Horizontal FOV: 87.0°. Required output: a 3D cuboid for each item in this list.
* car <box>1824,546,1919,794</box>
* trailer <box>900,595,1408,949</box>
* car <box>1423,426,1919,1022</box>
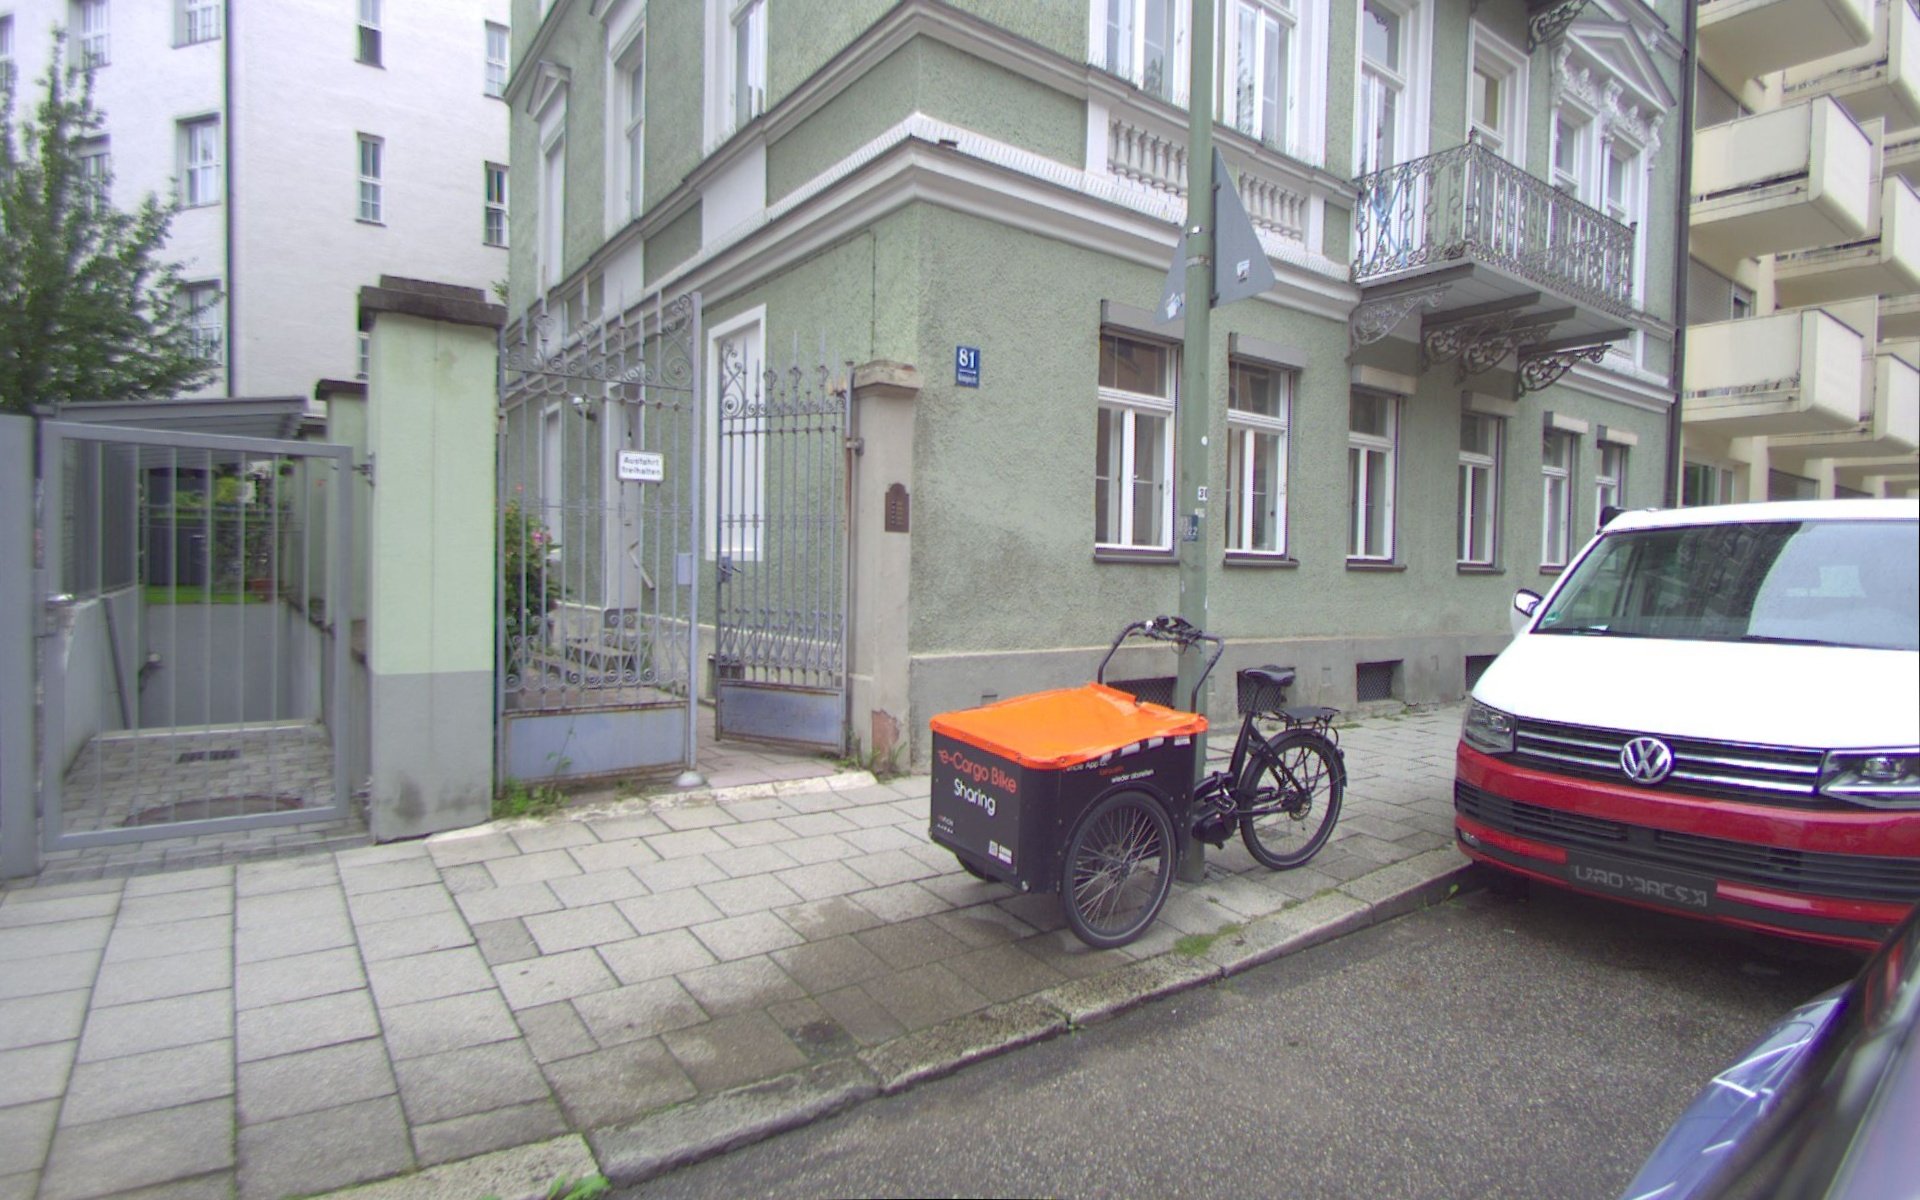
[{"bbox_3d":[8.902,0.521,8.324,4.469,1.780,1.832,1,0,-37],"label":"car"},{"bbox_3d":[0.909,0.619,4.583,2.121,1.198,0.947,0,5,-32],"label":"trailer"},{"bbox_3d":[4.481,0.400,5.199,4.505,1.920,1.859,0,0,-36],"label":"car"}]
